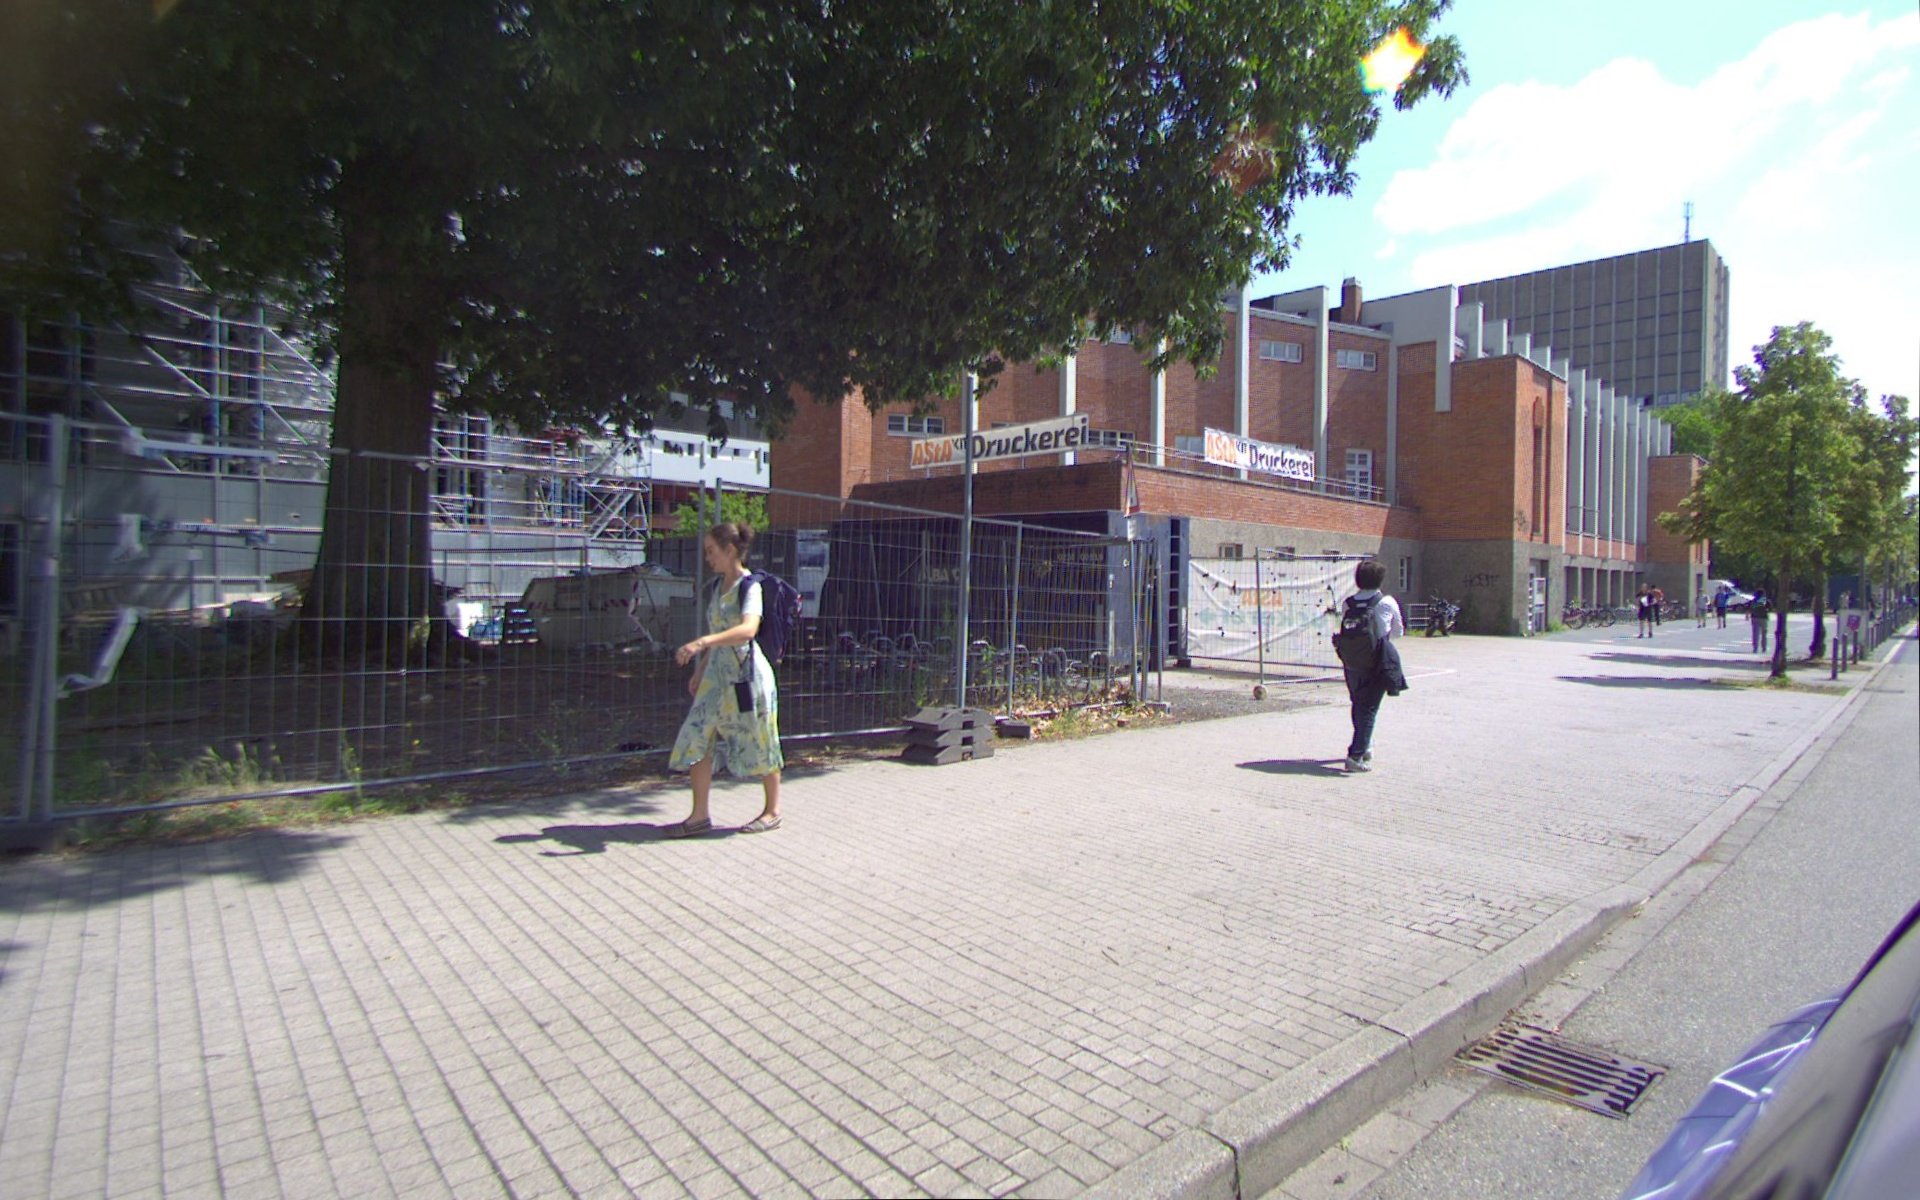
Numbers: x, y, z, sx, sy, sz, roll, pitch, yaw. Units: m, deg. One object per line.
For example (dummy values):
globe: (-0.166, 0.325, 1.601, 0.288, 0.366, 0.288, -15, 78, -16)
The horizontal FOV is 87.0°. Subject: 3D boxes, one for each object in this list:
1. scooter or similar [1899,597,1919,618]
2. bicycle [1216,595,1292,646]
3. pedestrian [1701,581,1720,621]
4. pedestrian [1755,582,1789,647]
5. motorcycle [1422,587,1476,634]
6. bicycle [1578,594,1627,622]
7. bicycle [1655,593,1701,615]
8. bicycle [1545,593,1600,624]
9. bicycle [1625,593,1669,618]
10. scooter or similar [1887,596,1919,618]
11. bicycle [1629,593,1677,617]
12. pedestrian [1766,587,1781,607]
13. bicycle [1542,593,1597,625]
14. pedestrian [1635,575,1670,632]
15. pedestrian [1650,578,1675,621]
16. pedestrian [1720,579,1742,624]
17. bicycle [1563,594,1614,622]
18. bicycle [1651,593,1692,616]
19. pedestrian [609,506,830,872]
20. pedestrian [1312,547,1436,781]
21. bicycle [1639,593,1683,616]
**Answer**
scooter or similar: (58.317, 0.452, 61.843, 0.564, 1.248, 1.267, 1, 1, -10)
bicycle: (6.847, 0.465, 23.634, 0.440, 1.123, 1.703, 0, 1, -44)
pedestrian: (32.820, 0.041, 44.262, 0.584, 1.728, 0.987, 2, 2, 41)
pedestrian: (21.911, 0.386, 27.308, 0.641, 1.718, 0.780, 1, 1, 44)
motorcycle: (14.705, 0.296, 30.394, 2.182, 1.340, 0.697, 0, 1, -43)
bicycle: (26.920, 0.314, 42.396, 1.683, 1.124, 0.429, 2, 1, 44)
bicycle: (38.514, 0.196, 54.312, 1.930, 1.124, 0.449, 2, 1, 44)
bicycle: (24.101, 0.335, 39.830, 1.753, 1.164, 0.509, 2, 1, 44)
bicycle: (33.236, 0.253, 48.989, 1.683, 1.124, 0.429, 2, 1, 44)
scooter or similar: (56.943, 0.426, 61.081, 0.564, 1.245, 1.359, 1, 1, -10)
bicycle: (34.352, 0.232, 50.205, 1.911, 1.124, 0.429, 2, 1, 44)
pedestrian: (69.205, -0.236, 86.063, 0.742, 1.694, 0.840, 2, 1, 23)
bicycle: (23.535, 0.327, 39.105, 1.753, 1.164, 0.429, 2, 1, 44)
pedestrian: (23.019, 0.114, 33.620, 0.843, 1.857, 1.180, 1, 1, 40)
pedestrian: (31.002, -0.034, 44.656, 0.890, 1.857, 0.664, 0, 1, -39)
pedestrian: (33.284, 0.062, 43.680, 0.663, 1.913, 1.094, 2, 2, 39)
bicycle: (25.787, 0.321, 41.541, 1.747, 1.124, 0.429, 2, 1, 44)
bicycle: (37.274, 0.218, 53.037, 1.694, 1.124, 0.429, 2, 1, 44)
pedestrian: (-1.230, 0.398, 5.210, 0.649, 1.687, 0.890, 2, 1, 44)
pedestrian: (3.407, 0.477, 8.319, 0.694, 1.803, 0.775, 2, 1, 43)
bicycle: (35.619, 0.210, 51.461, 1.797, 1.124, 0.429, 2, 1, 44)
